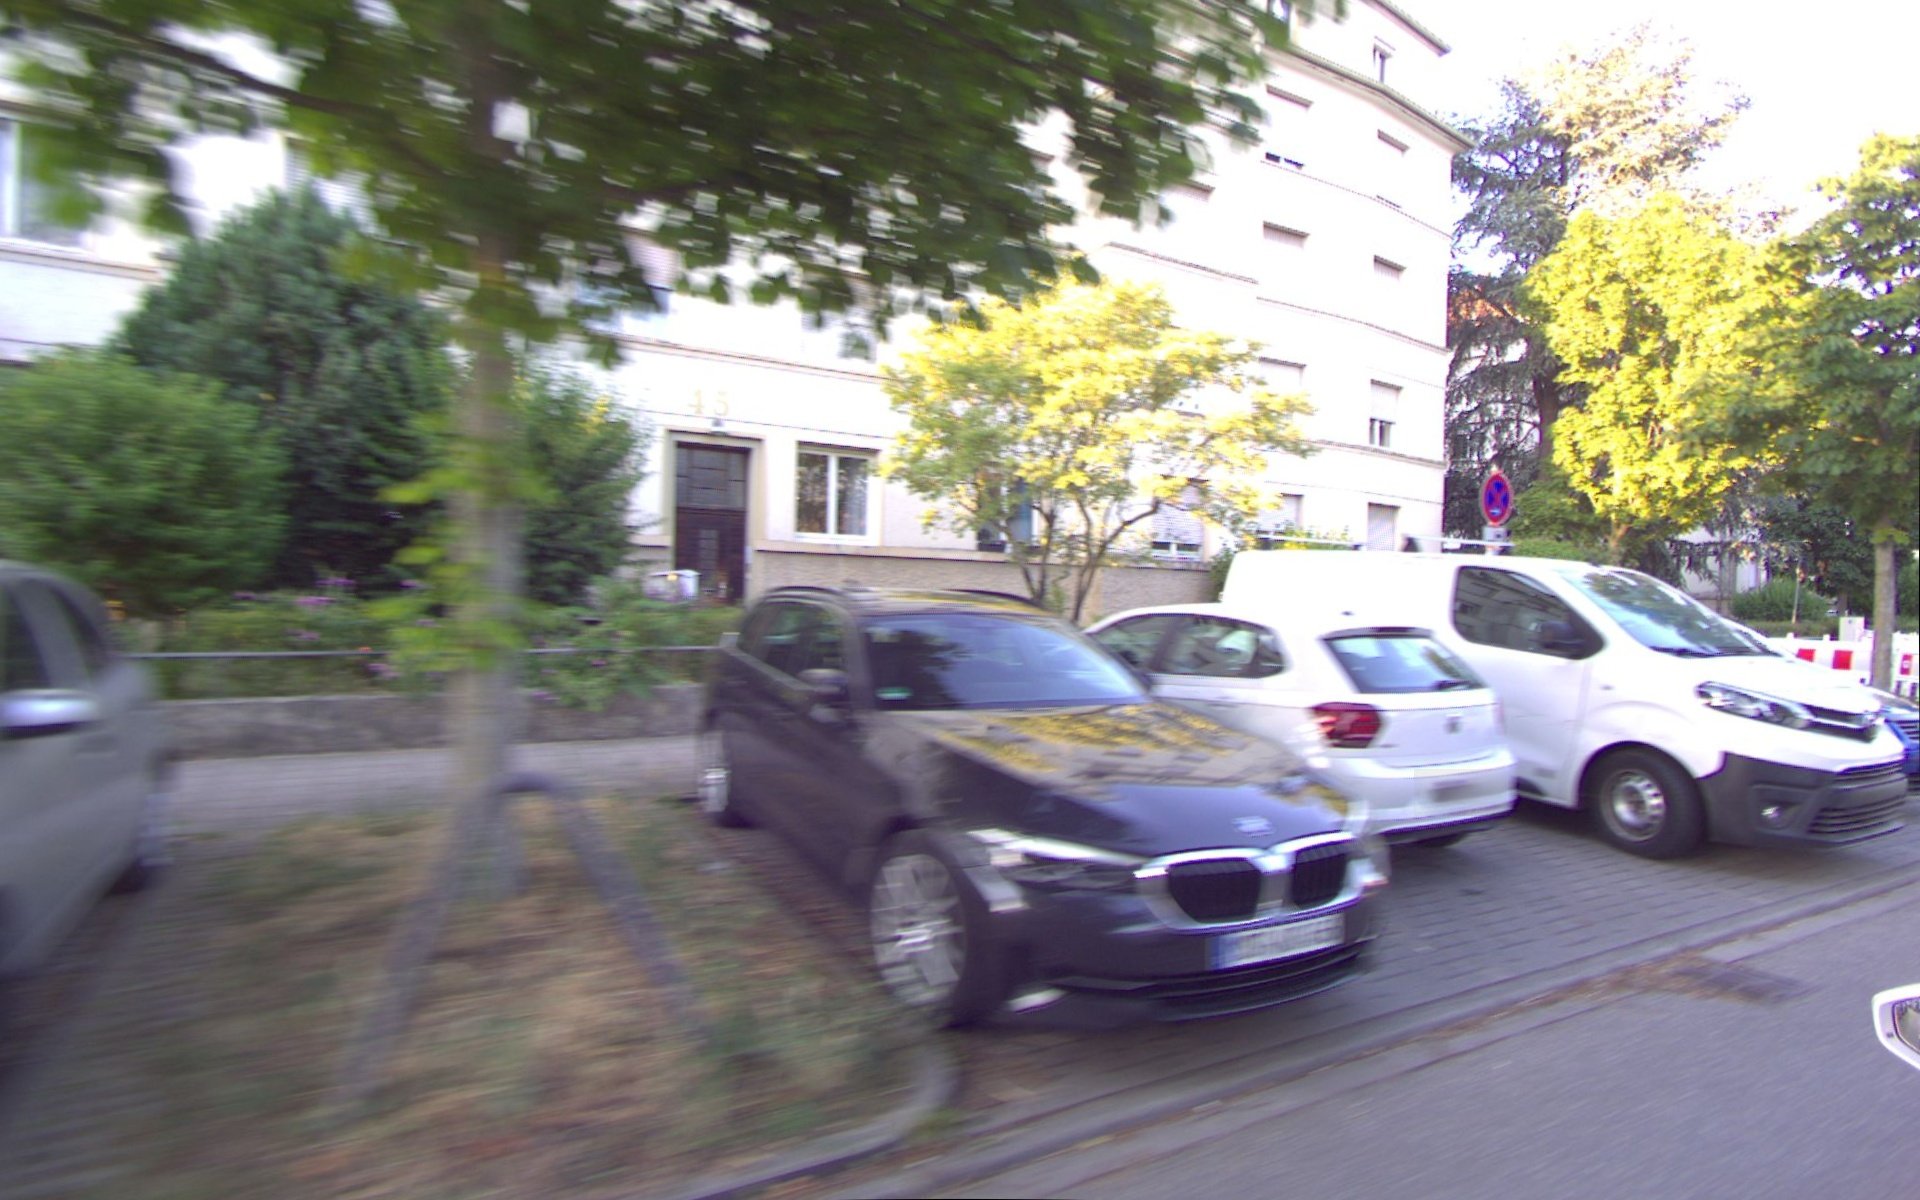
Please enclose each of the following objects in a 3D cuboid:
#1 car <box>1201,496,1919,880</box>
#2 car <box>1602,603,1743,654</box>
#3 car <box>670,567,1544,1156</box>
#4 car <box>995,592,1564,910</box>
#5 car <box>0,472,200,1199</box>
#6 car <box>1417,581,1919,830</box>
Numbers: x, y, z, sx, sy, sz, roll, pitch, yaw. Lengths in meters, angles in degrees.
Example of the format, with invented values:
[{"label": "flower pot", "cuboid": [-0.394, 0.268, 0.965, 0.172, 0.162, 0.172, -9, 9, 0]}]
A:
[{"label": "car", "cuboid": [4.324, 0.438, 7.890, 1.977, 2.041, 4.747, 1, 1, -31]}, {"label": "car", "cuboid": [24.927, 0.963, 35.225, 1.748, 1.611, 3.675, 0, 1, -40]}, {"label": "car", "cuboid": [0.066, 0.649, 5.167, 1.859, 1.490, 4.748, 2, 2, -30]}, {"label": "car", "cuboid": [1.853, 0.730, 6.781, 1.737, 1.503, 3.400, 1, 1, -29]}, {"label": "car", "cuboid": [-3.685, 0.499, 3.198, 1.783, 1.599, 3.962, 1, 1, -34]}, {"label": "car", "cuboid": [6.595, 0.732, 9.310, 1.780, 1.776, 3.964, 1, 1, -32]}]
